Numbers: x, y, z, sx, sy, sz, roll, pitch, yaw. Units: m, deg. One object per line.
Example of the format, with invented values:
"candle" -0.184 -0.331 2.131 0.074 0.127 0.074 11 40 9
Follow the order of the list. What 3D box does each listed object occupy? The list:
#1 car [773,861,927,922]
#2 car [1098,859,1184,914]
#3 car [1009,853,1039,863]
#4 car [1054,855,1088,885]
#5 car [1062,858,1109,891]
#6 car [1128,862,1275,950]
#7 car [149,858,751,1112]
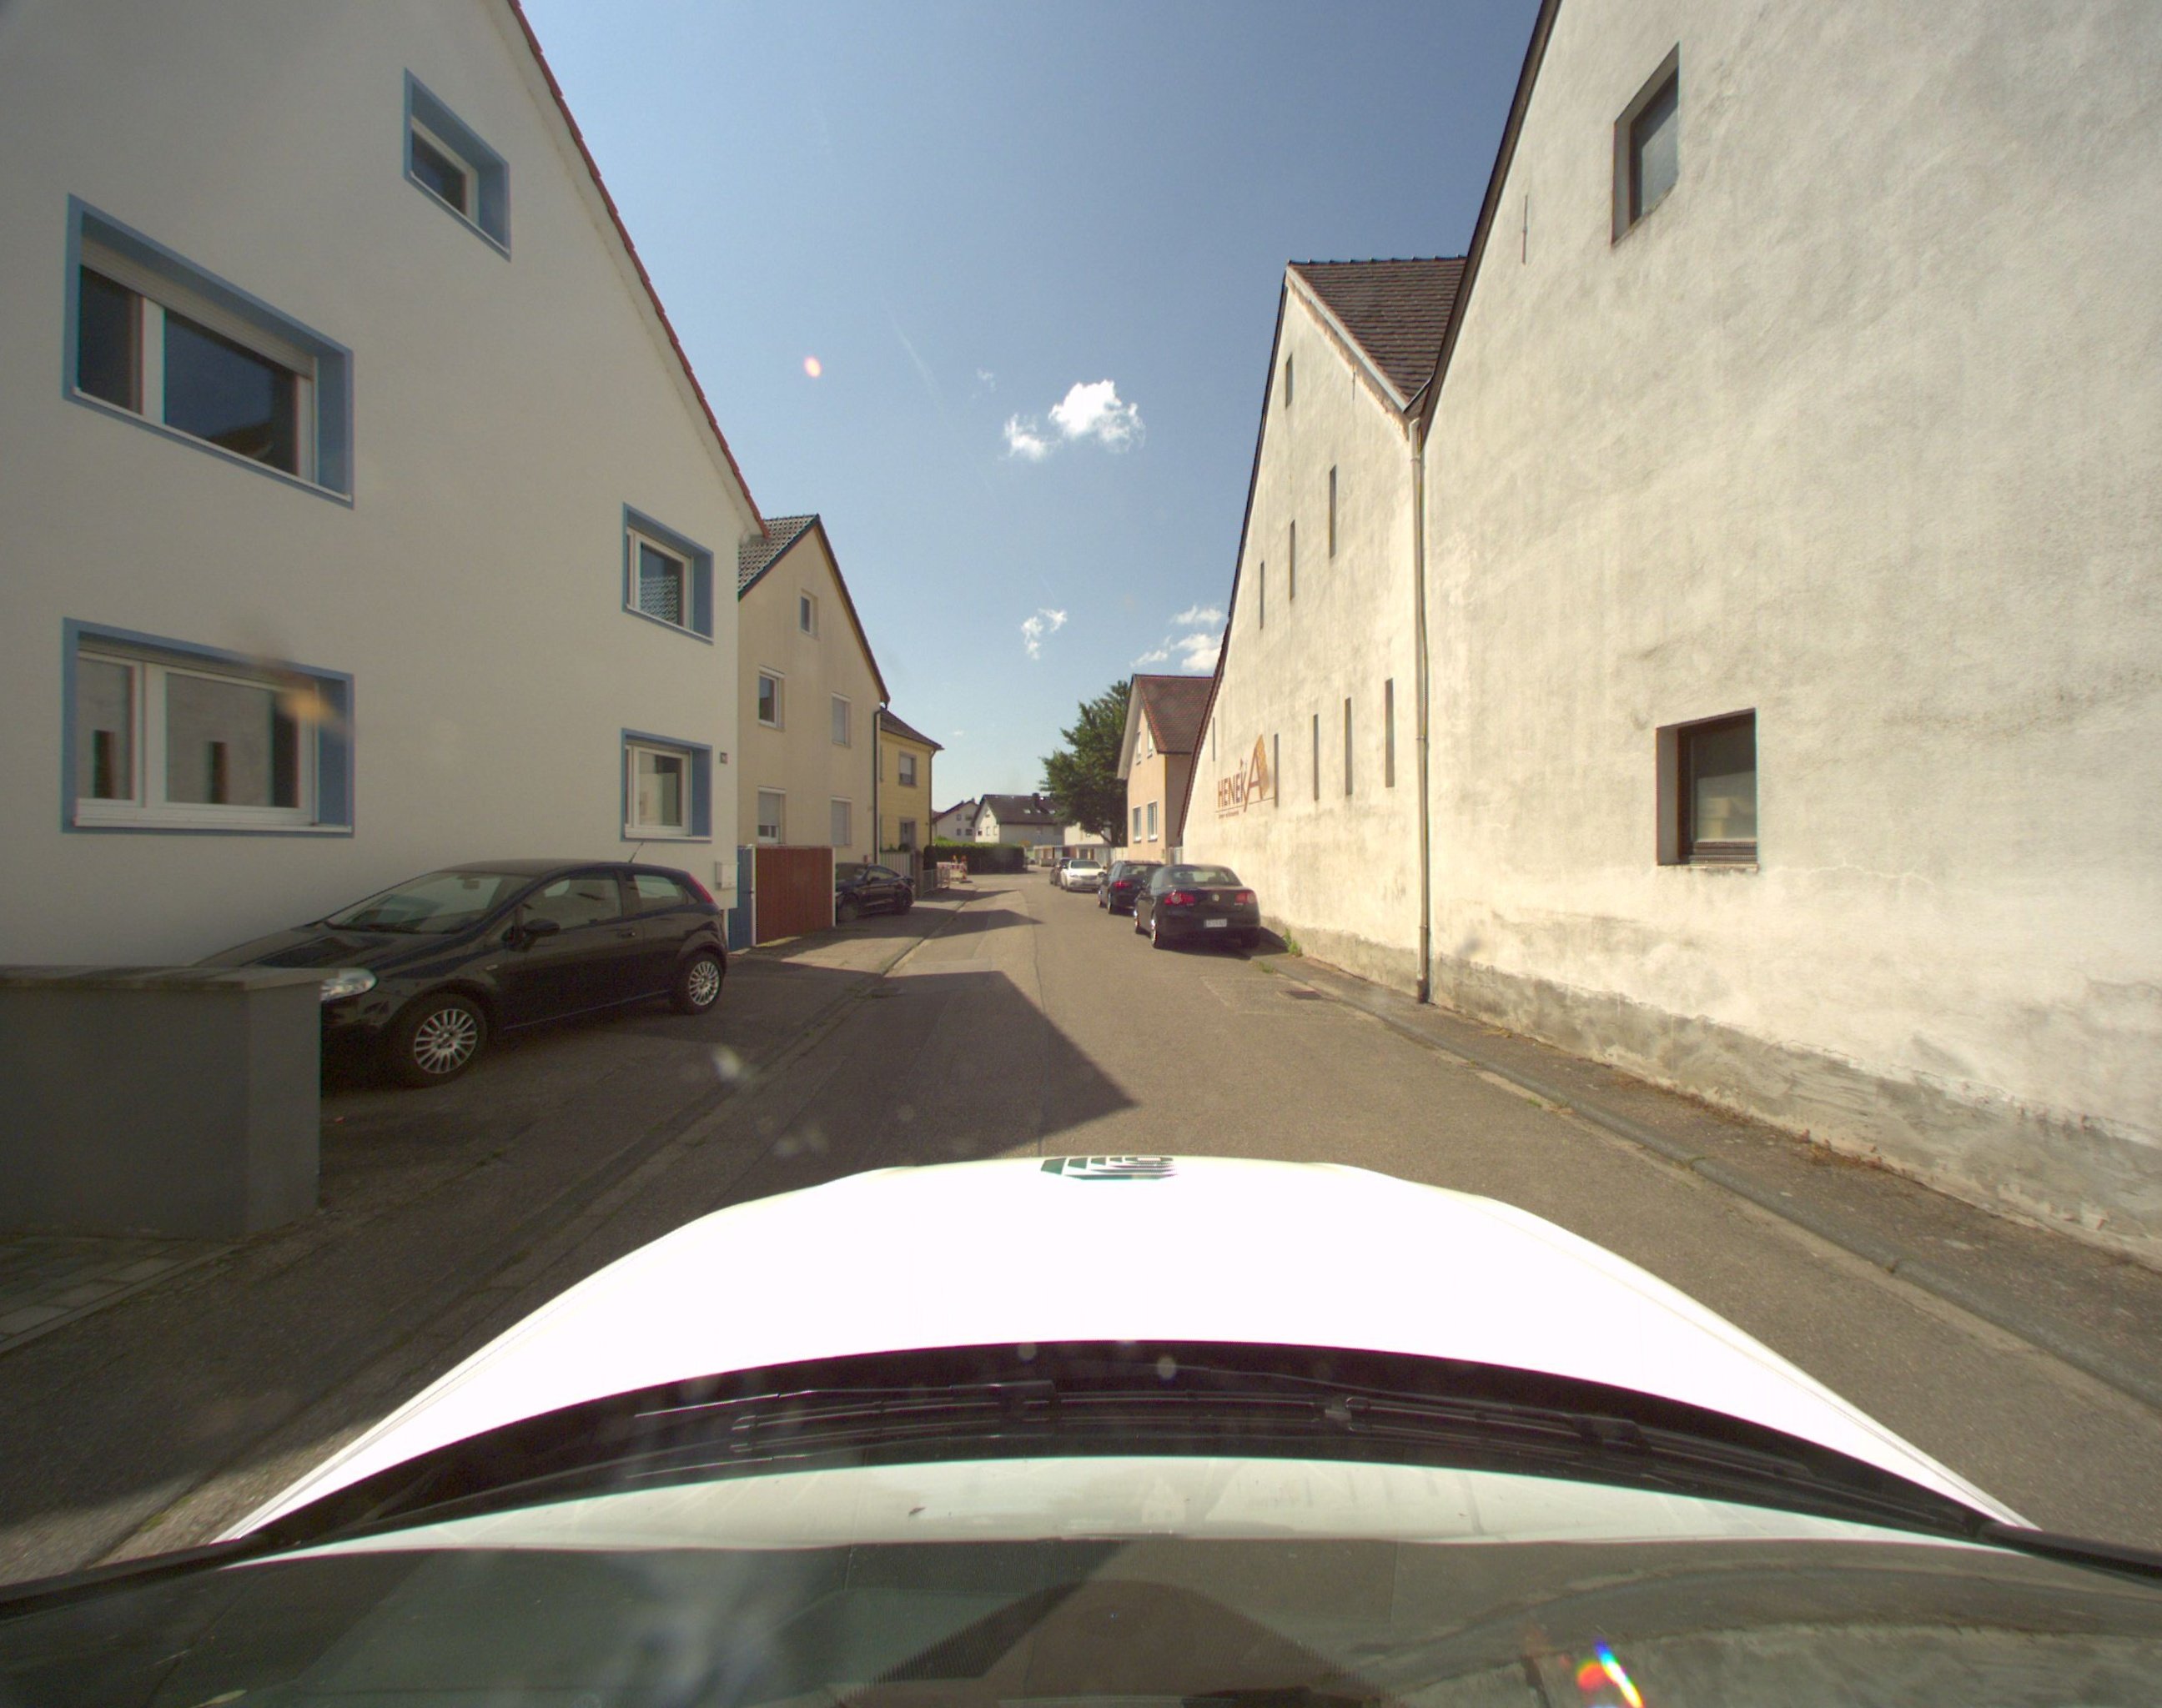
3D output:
"car" -5.605 0.862 20.412 1.757 1.349 4.485 0 -1 13
"car" 1.582 0.841 23.038 1.891 1.365 4.732 0 0 -3
"car" -7.682 0.544 109.184 3.619 1.408 1.768 0 0 -28
"car" -0.585 0.818 43.768 1.708 1.532 4.031 0 0 -3
"car" 0.153 0.880 37.103 1.891 1.428 4.732 0 0 -3
"car" 2.038 0.842 15.050 1.891 1.365 4.410 0 0 -3
"car" -4.667 0.782 6.827 1.626 1.455 3.800 0 0 13
